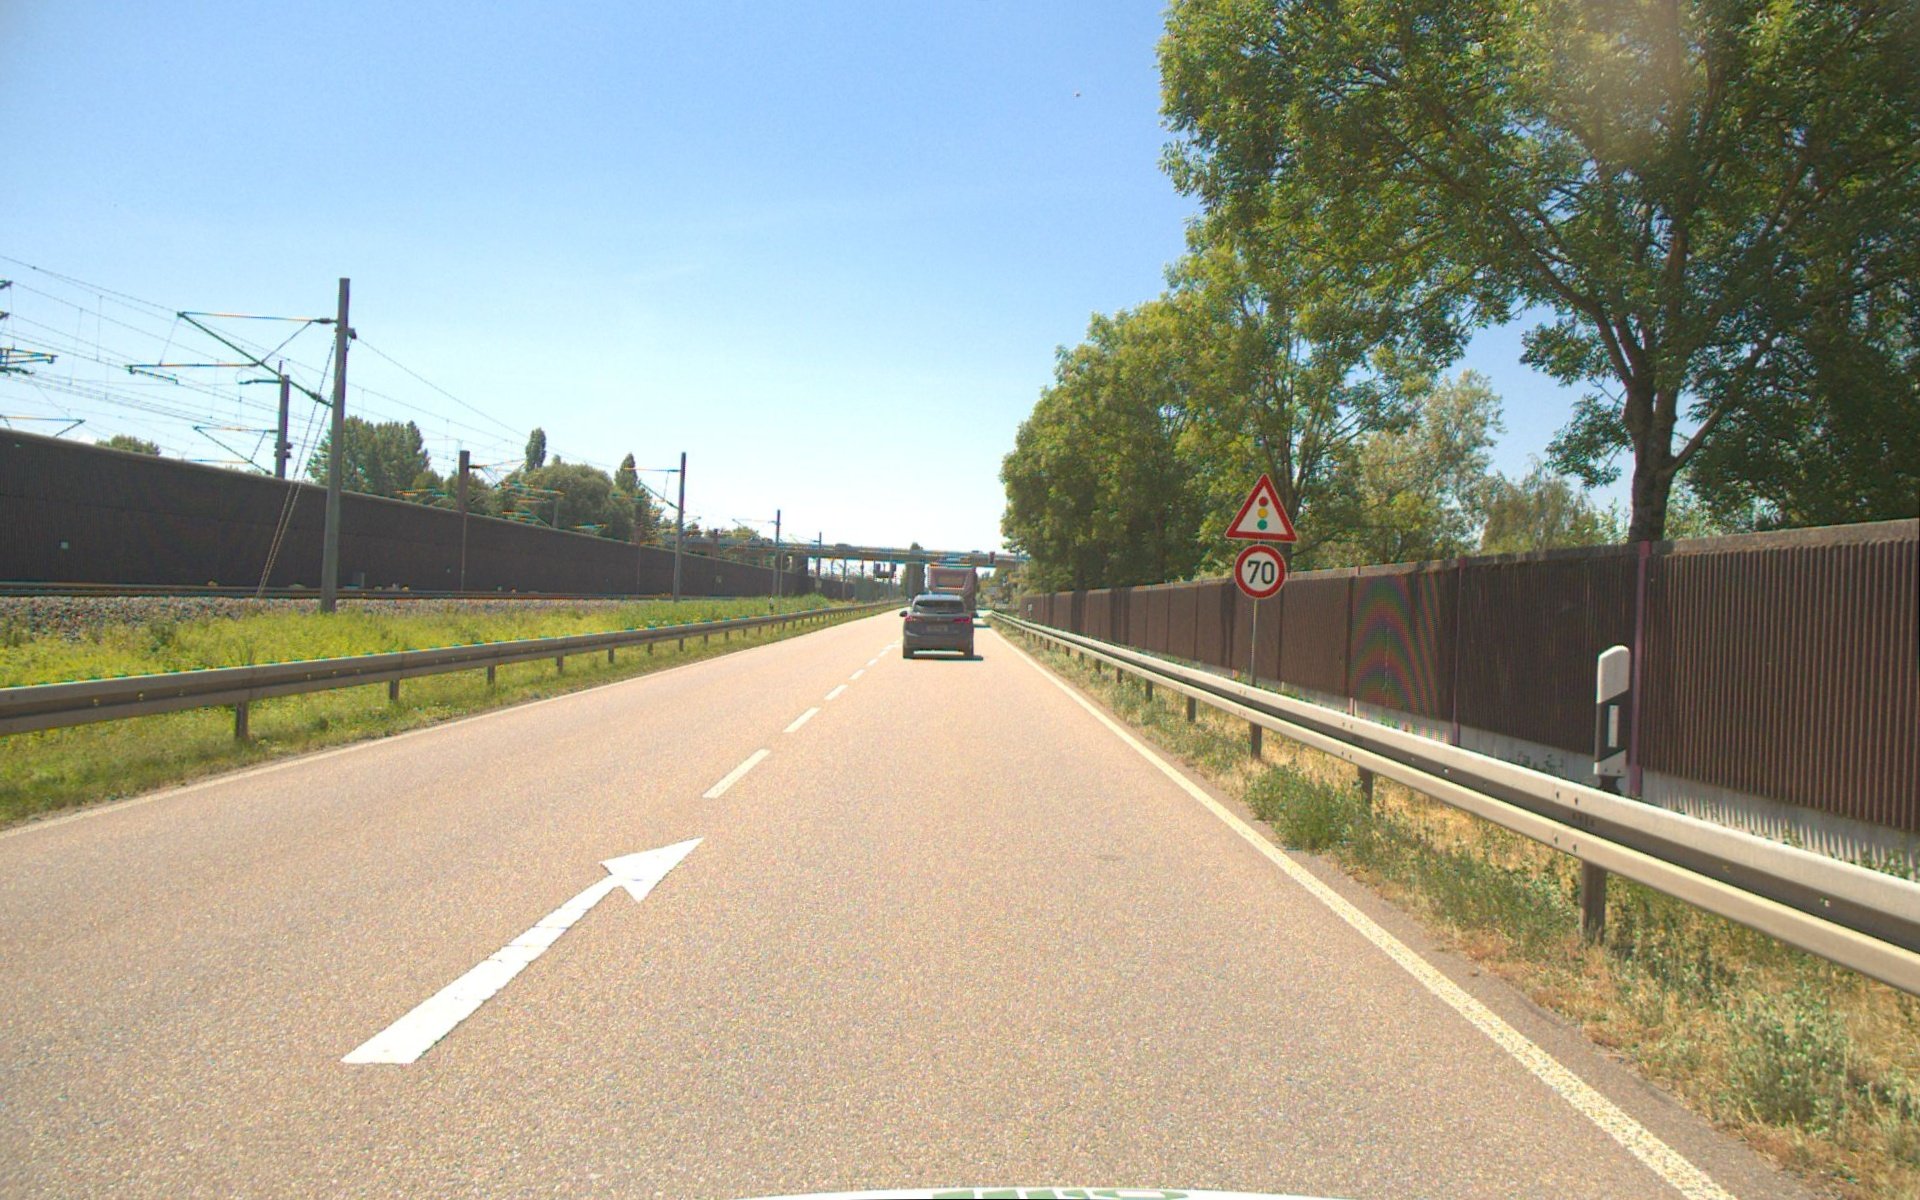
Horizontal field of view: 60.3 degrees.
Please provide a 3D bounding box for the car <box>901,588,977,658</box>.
[{"bbox_3d":[-0.499,0.556,42.320,1.807,1.651,4.225,2,0,0],"label":"car"}]

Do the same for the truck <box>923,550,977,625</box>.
[{"bbox_3d":[-0.612,-0.669,94.280,2.776,3.888,11.882,2,0,-1],"label":"truck"}]
